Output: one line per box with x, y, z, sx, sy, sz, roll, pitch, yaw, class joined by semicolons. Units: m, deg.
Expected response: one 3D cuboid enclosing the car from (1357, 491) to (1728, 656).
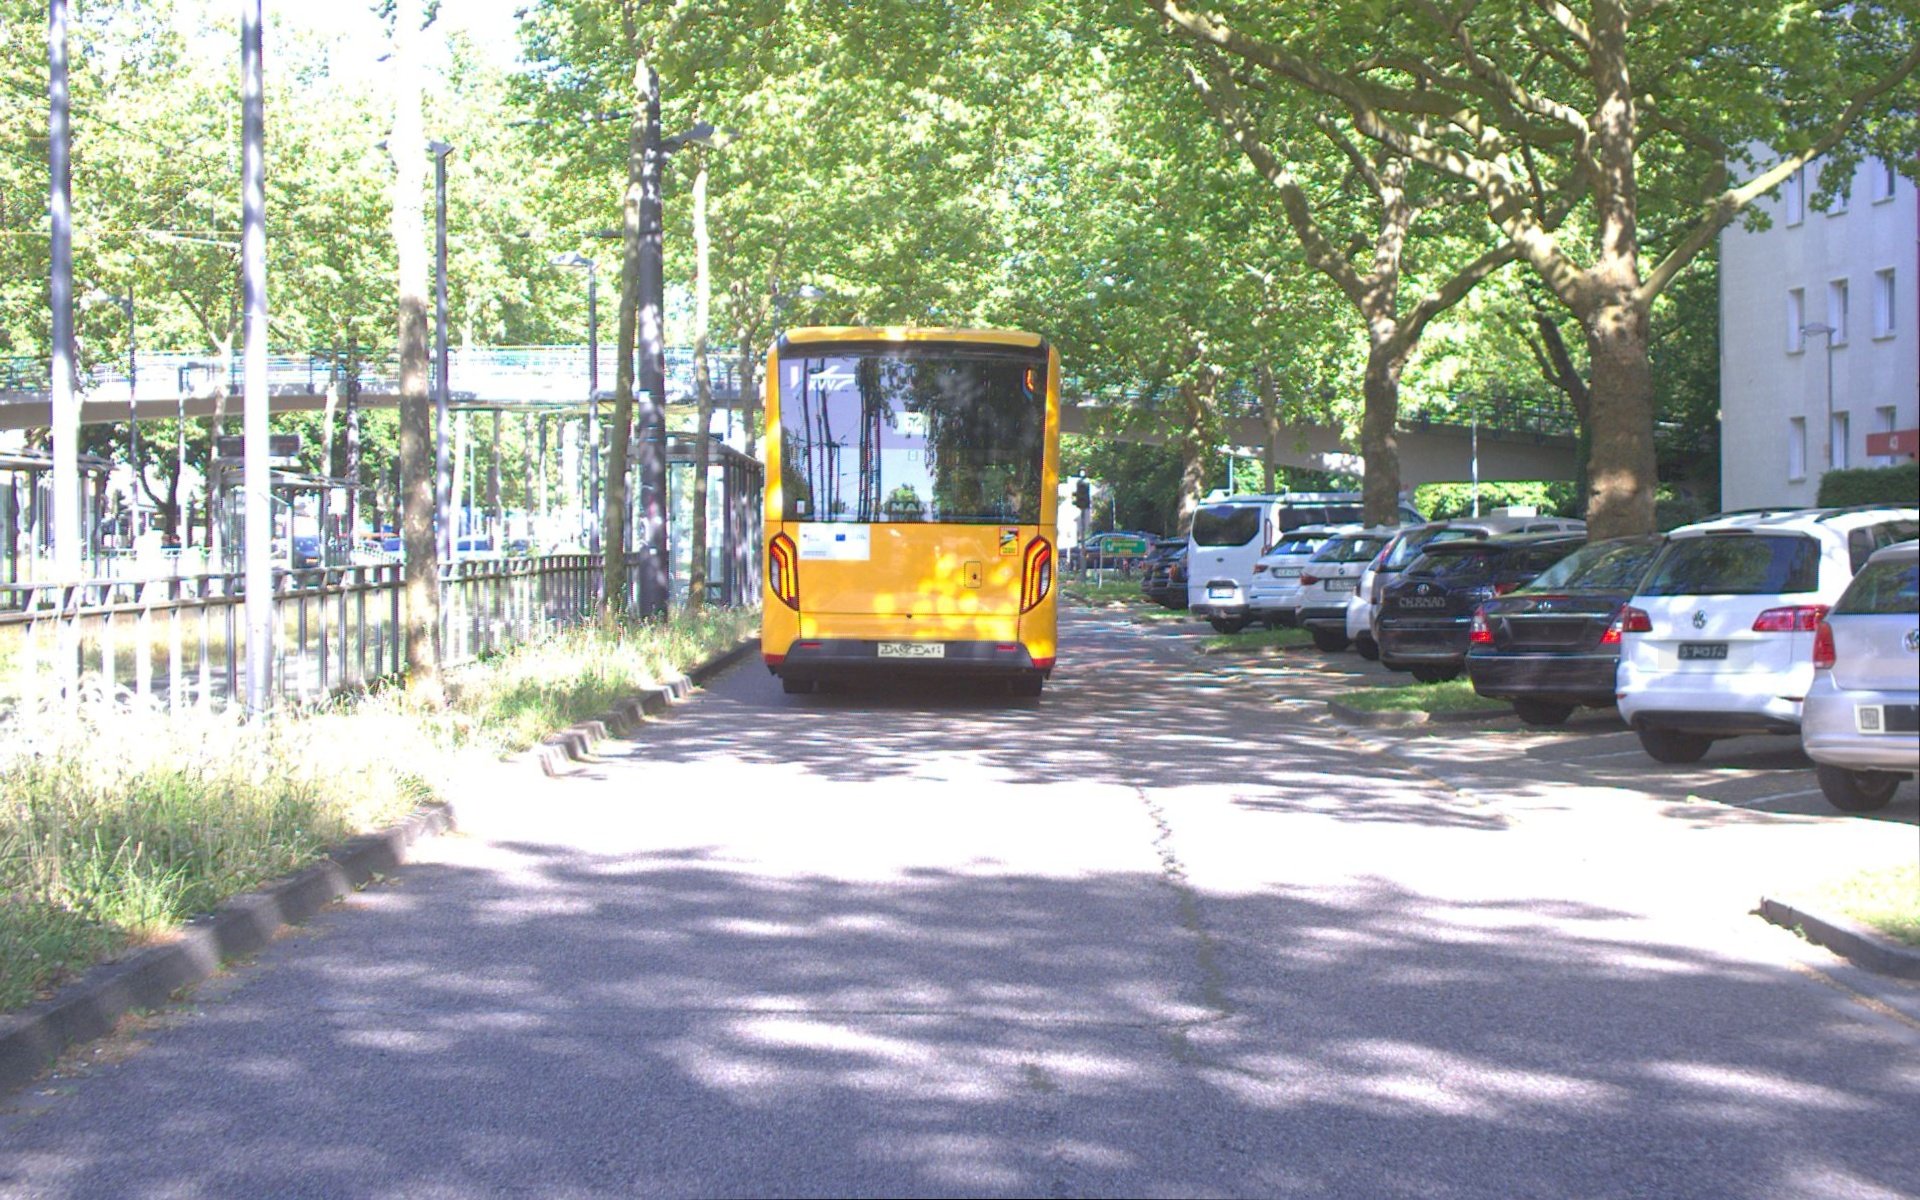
6.283;-0.302;36.834;3.989;1.584;1.799;-3;2;-43;car

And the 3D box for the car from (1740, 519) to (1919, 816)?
6.112;0.268;18.301;3.989;1.439;1.799;-3;2;-41;car

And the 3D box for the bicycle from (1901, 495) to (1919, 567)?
15.915;-1.144;54.492;1.794;1.125;0.550;-3;1;-5;bicycle

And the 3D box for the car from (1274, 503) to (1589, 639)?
5.952;-0.378;43.095;1.798;1.505;4.202;-1;2;43;car

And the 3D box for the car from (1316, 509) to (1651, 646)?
6.152;-0.279;40.164;1.831;1.414;3.990;-1;2;45;car

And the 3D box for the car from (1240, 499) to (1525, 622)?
6.089;-0.576;49.306;4.047;1.575;1.832;-3;2;-43;car

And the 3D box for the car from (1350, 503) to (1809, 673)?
6.051;-0.140;33.350;4.396;1.423;1.951;-3;2;-39;car

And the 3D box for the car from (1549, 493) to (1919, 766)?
5.801;0.111;22.112;3.989;1.570;1.799;-3;2;-40;car

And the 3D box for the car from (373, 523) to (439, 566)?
-20.775;-2.091;128.989;1.794;1.575;4.288;0;1;0;car

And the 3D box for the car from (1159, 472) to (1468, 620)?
5.427;-0.840;52.449;4.577;2.045;2.017;-3;1;-40;car

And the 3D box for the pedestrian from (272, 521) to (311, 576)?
-15.236;-1.177;78.382;0.778;1.233;0.722;0;1;-1;pedestrian

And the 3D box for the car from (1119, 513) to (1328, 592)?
5.513;-1.001;71.659;4.244;1.456;1.799;-3;2;-40;car

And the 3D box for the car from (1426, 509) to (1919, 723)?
5.708;0.069;26.377;1.799;1.418;4.578;0;2;45;car

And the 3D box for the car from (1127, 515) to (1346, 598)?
5.529;-0.882;68.458;4.244;1.456;1.799;-3;2;-40;car

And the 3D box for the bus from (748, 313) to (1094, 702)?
-0.455;-0.895;34.920;2.899;3.255;12.219;0;1;-1;bus

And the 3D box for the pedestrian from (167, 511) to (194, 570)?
-22.023;-1.686;97.135;0.648;1.655;0.650;0;1;-4;pedestrian

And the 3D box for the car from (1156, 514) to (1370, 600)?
5.790;-0.831;65.384;3.989;1.463;1.782;-3;2;-43;car

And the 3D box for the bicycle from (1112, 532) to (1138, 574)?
4.827;-1.390;100.824;0.590;1.178;1.800;-3;2;-1;bicycle
